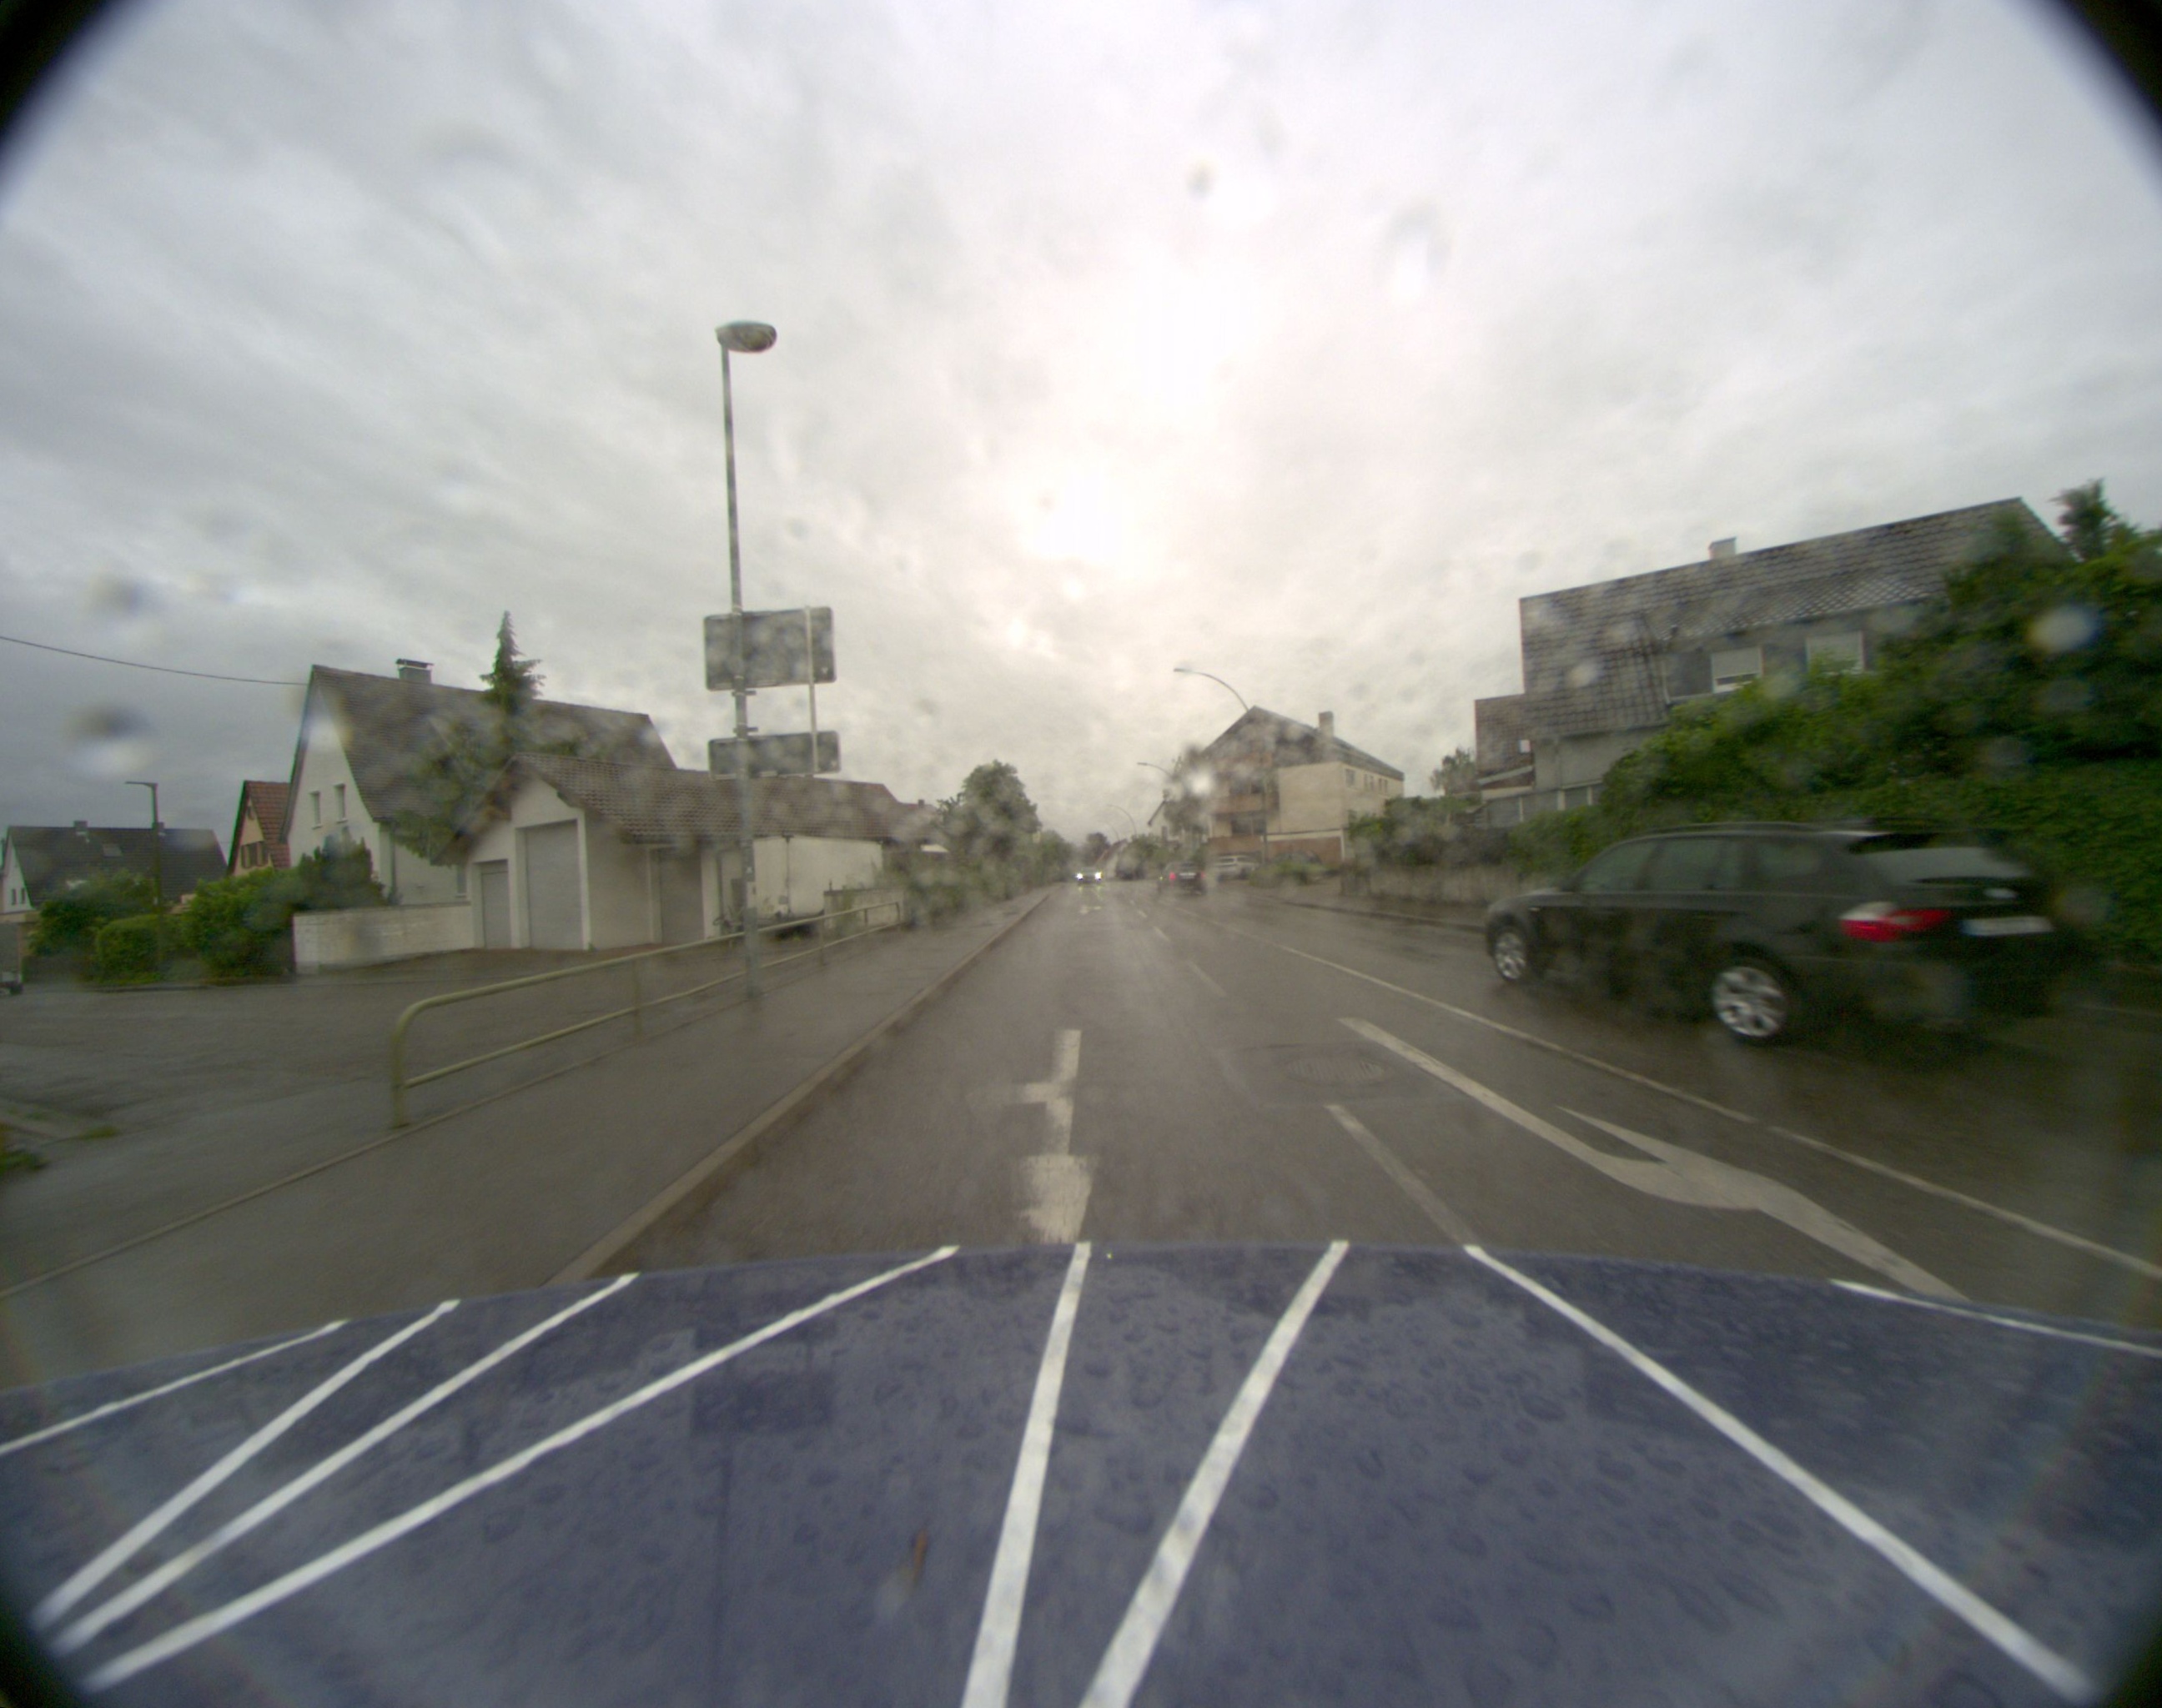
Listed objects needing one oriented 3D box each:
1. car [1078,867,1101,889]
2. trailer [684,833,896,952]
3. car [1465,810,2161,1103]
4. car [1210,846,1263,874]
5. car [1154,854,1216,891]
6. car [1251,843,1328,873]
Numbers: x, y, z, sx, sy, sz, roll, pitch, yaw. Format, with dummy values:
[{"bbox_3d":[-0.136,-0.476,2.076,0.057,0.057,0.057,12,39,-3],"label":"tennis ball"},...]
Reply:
[{"bbox_3d":[0.693,1.870,60.642,1.687,1.486,3.939,-3,1,1],"label":"car"},{"bbox_3d":[-6.876,0.809,18.560,1.645,2.503,4.711,-3,0,29],"label":"trailer"},{"bbox_3d":[5.694,0.588,6.773,1.999,1.658,4.414,-3,1,-5],"label":"car"},{"bbox_3d":[9.788,0.367,47.694,1.864,1.510,4.007,-2,1,33],"label":"car"},{"bbox_3d":[4.550,0.772,33.879,1.999,1.396,4.622,-2,1,-1],"label":"car"},{"bbox_3d":[11.448,0.226,41.742,3.661,1.510,1.758,-2,1,36],"label":"car"}]
